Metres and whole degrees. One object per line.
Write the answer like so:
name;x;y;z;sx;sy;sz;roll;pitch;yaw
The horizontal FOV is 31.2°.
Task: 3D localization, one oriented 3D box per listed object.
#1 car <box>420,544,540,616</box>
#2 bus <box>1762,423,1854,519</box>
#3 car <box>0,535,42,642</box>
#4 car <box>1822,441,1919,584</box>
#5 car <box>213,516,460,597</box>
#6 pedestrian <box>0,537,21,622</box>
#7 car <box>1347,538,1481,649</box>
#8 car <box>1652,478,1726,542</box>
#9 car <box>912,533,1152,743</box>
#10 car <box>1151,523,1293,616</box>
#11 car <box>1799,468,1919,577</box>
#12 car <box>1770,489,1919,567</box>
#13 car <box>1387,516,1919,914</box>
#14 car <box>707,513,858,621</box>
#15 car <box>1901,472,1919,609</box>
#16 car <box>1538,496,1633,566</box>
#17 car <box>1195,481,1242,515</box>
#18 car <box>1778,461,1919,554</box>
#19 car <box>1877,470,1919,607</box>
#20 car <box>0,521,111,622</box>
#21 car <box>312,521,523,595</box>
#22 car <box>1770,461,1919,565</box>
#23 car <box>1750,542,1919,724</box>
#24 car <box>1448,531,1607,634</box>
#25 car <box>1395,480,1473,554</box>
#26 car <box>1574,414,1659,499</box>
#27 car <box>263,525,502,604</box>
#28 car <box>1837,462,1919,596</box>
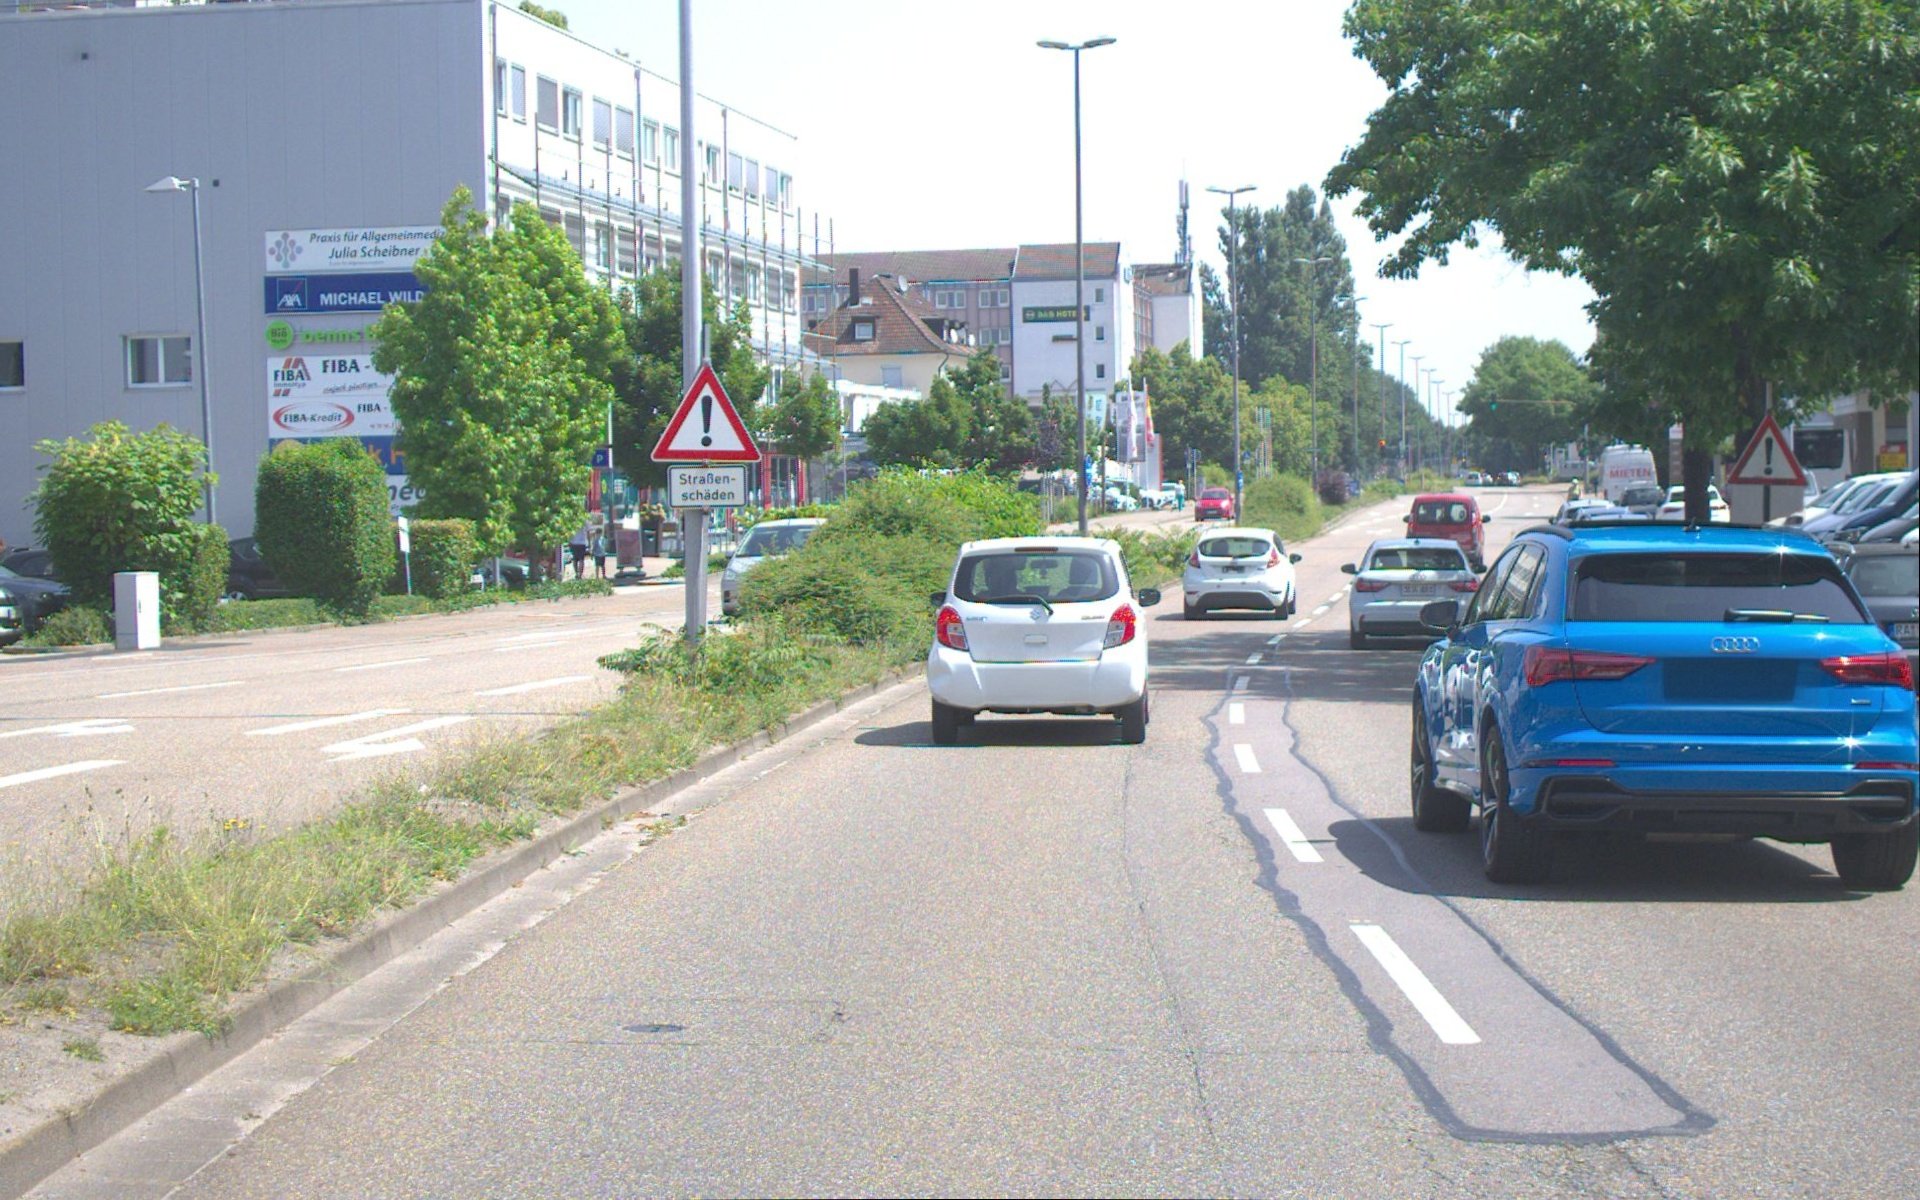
car;-11.016;-0.478;79.094;1.660;1.462;3.797;-3;2;8
bus;29.215;-4.530;118.745;2.806;3.068;12.279;0;3;13
car;-14.959;-0.133;47.687;3.987;1.454;1.575;-1;0;4
car;18.445;-1.531;61.303;5.846;2.515;2.203;1;0;12
car;-11.802;-0.838;65.248;4.149;1.337;2.042;-2;2;7
pedestrian;-18.579;-0.396;66.599;0.546;1.651;0.625;1;0;8
car;6.003;-0.111;45.270;1.667;1.394;3.792;0;1;8
car;19.793;-2.466;93.478;1.667;1.590;4.612;-2;2;9
car;0.612;0.265;26.582;1.712;1.505;3.247;0;0;3
car;4.241;-0.517;56.243;1.830;1.445;4.001;0;1;-3
car;18.730;-1.437;64.081;5.896;2.007;2.258;1;2;12
car;18.337;-1.470;69.759;3.633;1.565;1.715;1;2;15
car;3.206;0.431;16.274;1.913;1.591;4.395;-1;1;2
car;-2.815;-0.562;55.404;1.781;1.623;4.339;-2;1;5
car;16.417;-1.013;50.867;4.511;2.007;2.197;-3;0;10
car;14.652;-1.637;80.658;1.732;1.547;4.180;0;2;4
car;11.623;-4.594;154.573;1.631;1.419;3.449;-3;1;11
car;19.102;-1.925;70.885;4.151;1.775;1.881;-2;0;8
car;17.131;-1.092;53.858;5.066;2.089;2.040;-3;1;9
car;-14.710;-0.367;50.430;3.999;1.366;1.668;-2;2;12
car;-11.113;-0.859;70.516;3.839;1.329;1.859;-2;2;8
car;19.532;-1.870;72.269;4.641;2.006;1.960;-2;2;7
car;7.843;0.229;29.142;1.798;1.401;4.319;1;1;7
car;8.626;-0.299;52.582;1.681;1.430;4.439;-2;1;0
car;11.382;-1.984;82.691;1.795;1.723;3.972;1;1;7
car;23.782;-5.163;124.771;2.133;2.830;7.308;-3;1;5
car;-11.404;-0.708;68.040;4.225;1.344;1.980;-2;2;8
car;17.050;-1.260;56.345;4.901;2.107;2.129;-2;2;8
